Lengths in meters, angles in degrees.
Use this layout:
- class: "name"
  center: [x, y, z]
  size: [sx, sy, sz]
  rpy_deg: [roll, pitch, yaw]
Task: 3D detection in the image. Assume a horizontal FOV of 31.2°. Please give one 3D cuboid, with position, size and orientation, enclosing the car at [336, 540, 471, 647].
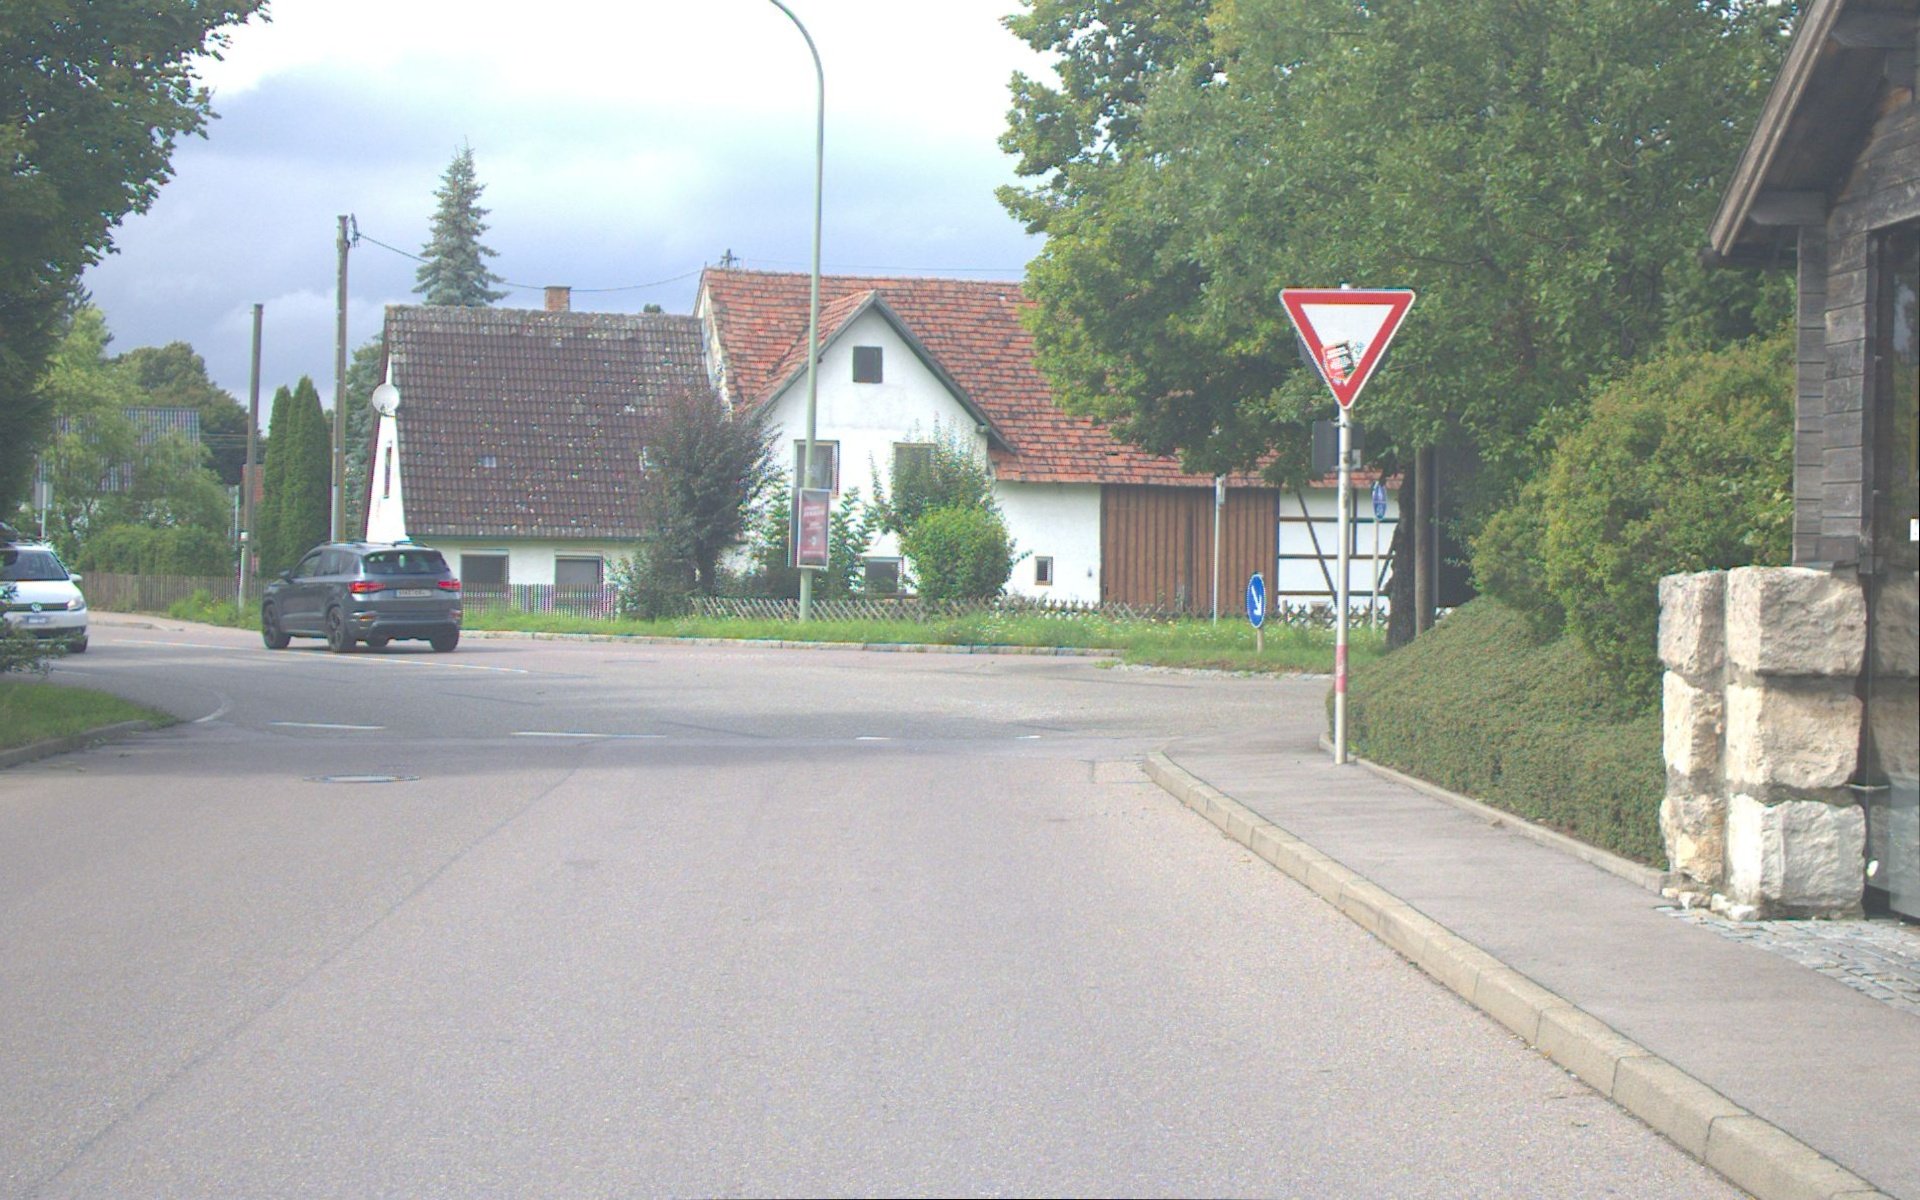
- class: "car"
  center: [-8.033, -0.124, 49.839]
  size: [1.798, 1.457, 3.663]
  rpy_deg: [1, 1, -7]

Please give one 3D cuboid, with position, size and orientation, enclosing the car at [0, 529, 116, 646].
- class: "car"
  center: [-13.626, -0.203, 50.600]
  size: [1.698, 1.659, 4.033]
  rpy_deg: [0, 1, -23]
